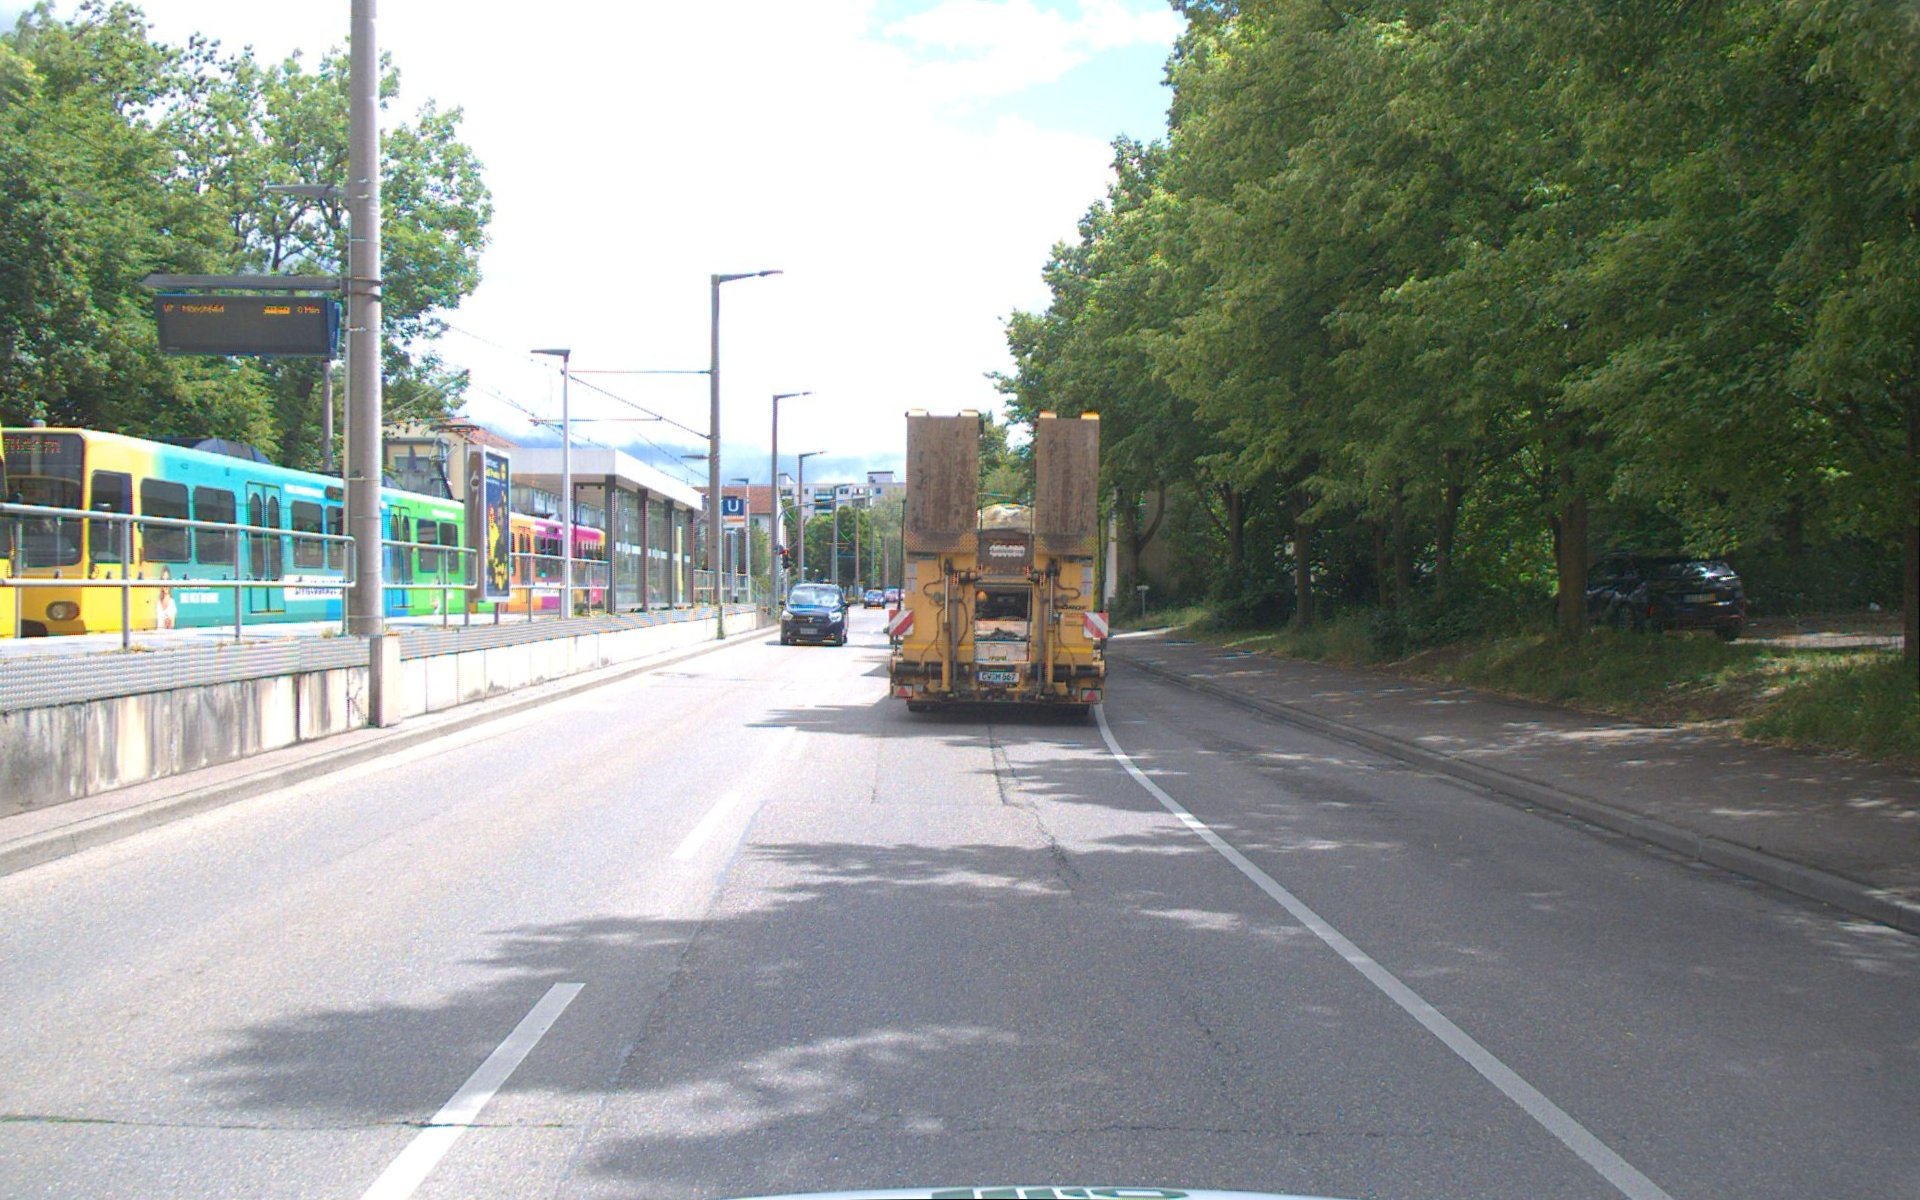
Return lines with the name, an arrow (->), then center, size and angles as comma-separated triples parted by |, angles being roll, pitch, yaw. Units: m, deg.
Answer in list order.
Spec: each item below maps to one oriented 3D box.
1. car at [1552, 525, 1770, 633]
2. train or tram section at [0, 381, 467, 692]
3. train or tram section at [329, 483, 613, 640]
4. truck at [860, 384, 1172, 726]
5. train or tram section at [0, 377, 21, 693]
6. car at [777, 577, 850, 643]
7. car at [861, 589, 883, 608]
car -> 11.342, -0.319, 27.088 | 1.680, 1.534, 4.159 | -3, 0, -1
train or tram section -> -12.555, -0.816, 28.352 | 3.045, 3.525, 19.191 | 1, 0, -2
train or tram section -> -13.201, -0.928, 47.474 | 3.045, 3.525, 19.082 | 1, 0, -2
truck -> 0.228, -0.554, 25.355 | 3.335, 3.797, 13.727 | 0, 0, -4
train or tram section -> -11.900, -0.704, 9.217 | 3.045, 3.525, 18.989 | 1, 0, -2
car -> -4.000, 0.250, 45.662 | 1.686, 1.712, 4.386 | 1, 0, -2
car -> -6.988, -0.091, 131.779 | 1.633, 1.478, 3.677 | 1, -1, -2
